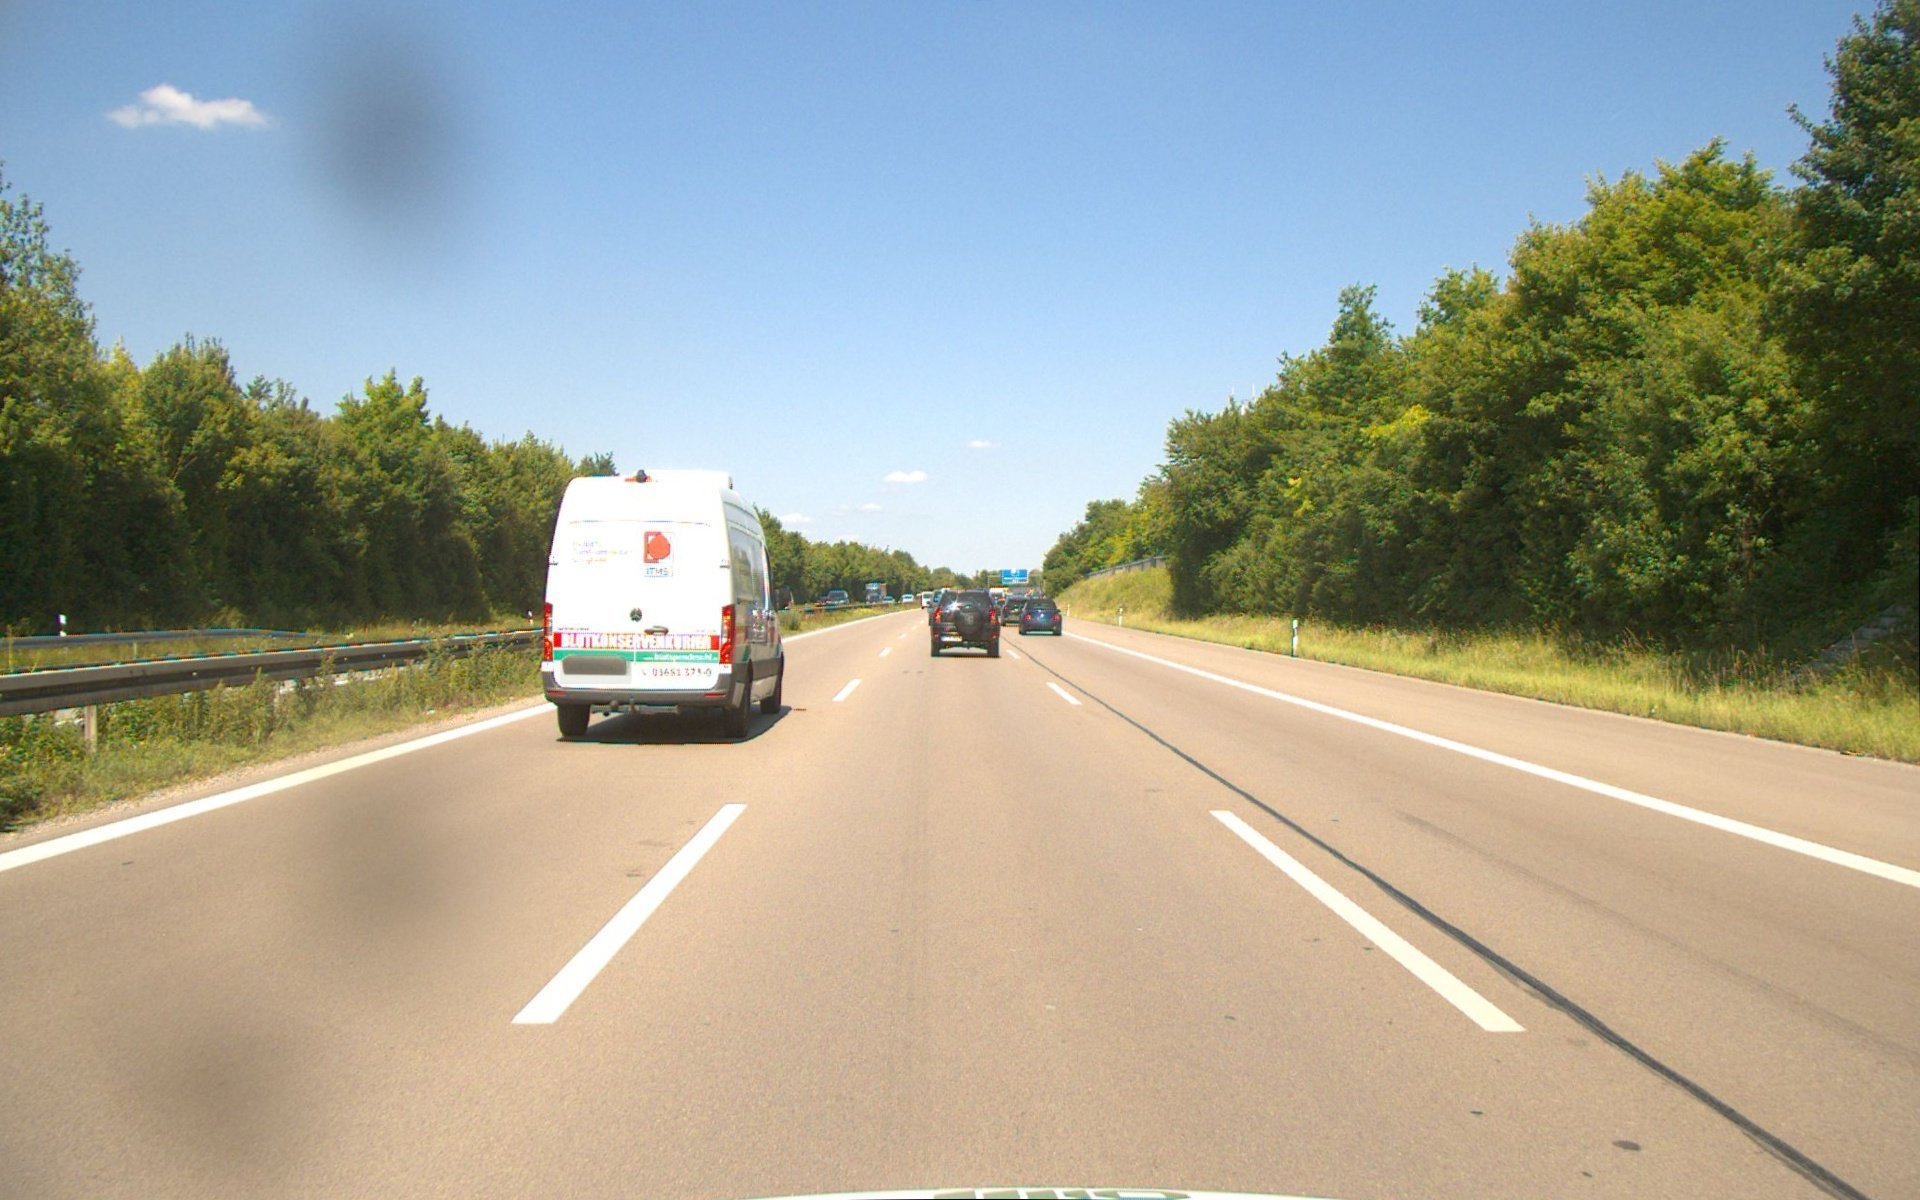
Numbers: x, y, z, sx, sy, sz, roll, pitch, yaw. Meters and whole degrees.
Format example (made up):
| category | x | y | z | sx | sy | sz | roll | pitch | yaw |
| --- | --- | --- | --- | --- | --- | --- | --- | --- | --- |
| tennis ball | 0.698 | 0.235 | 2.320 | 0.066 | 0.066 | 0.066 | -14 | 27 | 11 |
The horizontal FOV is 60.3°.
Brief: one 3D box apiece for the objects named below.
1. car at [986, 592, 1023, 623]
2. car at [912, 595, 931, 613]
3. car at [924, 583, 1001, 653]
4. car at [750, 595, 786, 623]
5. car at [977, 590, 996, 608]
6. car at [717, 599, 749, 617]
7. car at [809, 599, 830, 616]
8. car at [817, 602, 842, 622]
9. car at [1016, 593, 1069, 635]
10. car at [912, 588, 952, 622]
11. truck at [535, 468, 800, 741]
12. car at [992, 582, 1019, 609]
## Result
| category | x | y | z | sx | sy | sz | roll | pitch | yaw |
| --- | --- | --- | --- | --- | --- | --- | --- | --- | --- |
| car | 2.393 | 0.436 | 89.854 | 1.805 | 1.640 | 3.999 | 0 | -1 | -1 |
| car | -4.472 | 0.442 | 194.892 | 1.952 | 2.049 | 4.951 | -1 | 0 | 2 |
| car | 0.015 | 0.467 | 42.601 | 1.868 | 1.694 | 3.998 | 0 | -1 | -2 |
| car | -12.591 | 0.565 | 108.665 | 1.868 | 1.820 | 5.058 | 0 | 0 | -1 |
| car | 3.109 | -0.151 | 195.813 | 1.954 | 2.049 | 4.765 | 0 | 0 | -3 |
| car | -19.118 | 0.668 | 139.409 | 1.952 | 1.506 | 4.931 | 0 | 0 | 1 |
| car | -15.410 | 0.832 | 181.597 | 1.953 | 1.887 | 4.498 | 0 | -1 | -1 |
| car | -12.277 | 1.162 | 156.006 | 1.952 | 1.887 | 4.499 | 0 | -1 | 1 |
| car | 3.439 | 0.589 | 69.662 | 1.953 | 1.713 | 3.998 | 0 | -1 | -2 |
| car | -1.466 | 0.239 | 87.646 | 1.952 | 1.736 | 4.336 | -1 | 0 | 1 |
| truck | -3.149 | 0.025 | 19.326 | 1.953 | 2.587 | 6.690 | 1 | 0 | -1 |
| car | 3.570 | -0.335 | 129.866 | 1.953 | 2.049 | 3.999 | 0 | -1 | 0 |
